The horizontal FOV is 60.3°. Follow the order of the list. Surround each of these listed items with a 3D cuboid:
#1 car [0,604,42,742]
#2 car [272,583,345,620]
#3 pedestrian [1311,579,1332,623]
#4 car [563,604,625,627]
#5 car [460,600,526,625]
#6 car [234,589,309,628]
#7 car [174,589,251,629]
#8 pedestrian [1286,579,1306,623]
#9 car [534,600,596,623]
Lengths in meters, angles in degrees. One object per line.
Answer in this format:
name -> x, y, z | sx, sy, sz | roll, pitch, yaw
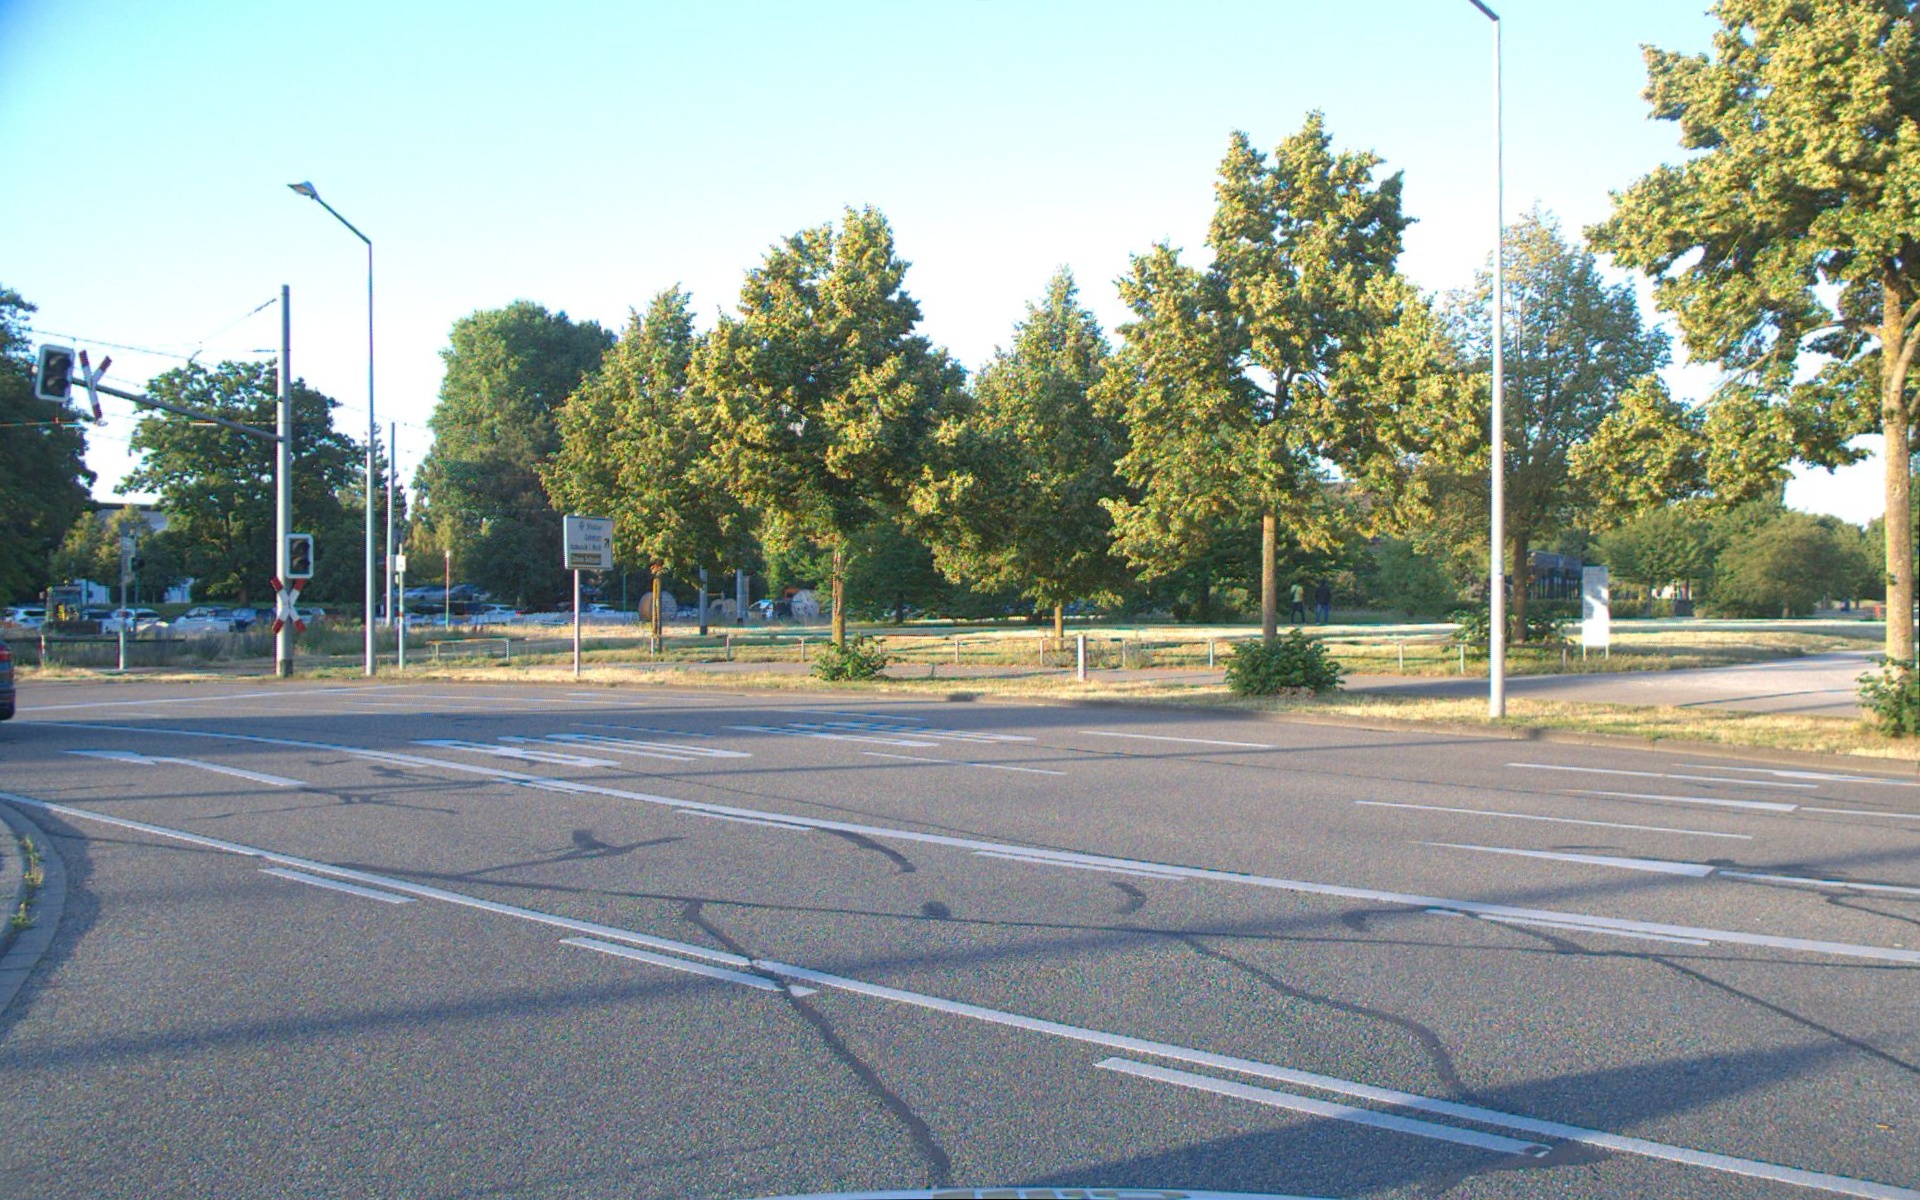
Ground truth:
car -> -12.410, 0.816, 18.712 | 4.045, 1.492, 1.748 | 0, 1, 31
car -> -37.828, 0.093, 95.998 | 3.914, 2.135, 1.996 | 0, 0, 31
pedestrian -> 13.669, 0.046, 62.530 | 0.612, 1.655, 0.525 | 0, 0, -31
car -> -25.580, 1.047, 115.608 | 3.912, 1.578, 1.996 | 0, 0, 30
car -> -30.368, 0.791, 107.454 | 3.912, 1.578, 1.996 | 0, 0, 30
car -> -38.967, 0.476, 93.616 | 3.914, 2.135, 1.996 | 0, 0, 31
car -> -40.961, 0.469, 90.582 | 3.914, 2.135, 1.996 | 0, 0, 31
pedestrian -> 12.766, 0.032, 62.831 | 0.573, 1.655, 0.527 | 0, 0, -32
car -> -27.146, 0.762, 113.629 | 3.912, 1.578, 1.996 | 0, 0, 30
